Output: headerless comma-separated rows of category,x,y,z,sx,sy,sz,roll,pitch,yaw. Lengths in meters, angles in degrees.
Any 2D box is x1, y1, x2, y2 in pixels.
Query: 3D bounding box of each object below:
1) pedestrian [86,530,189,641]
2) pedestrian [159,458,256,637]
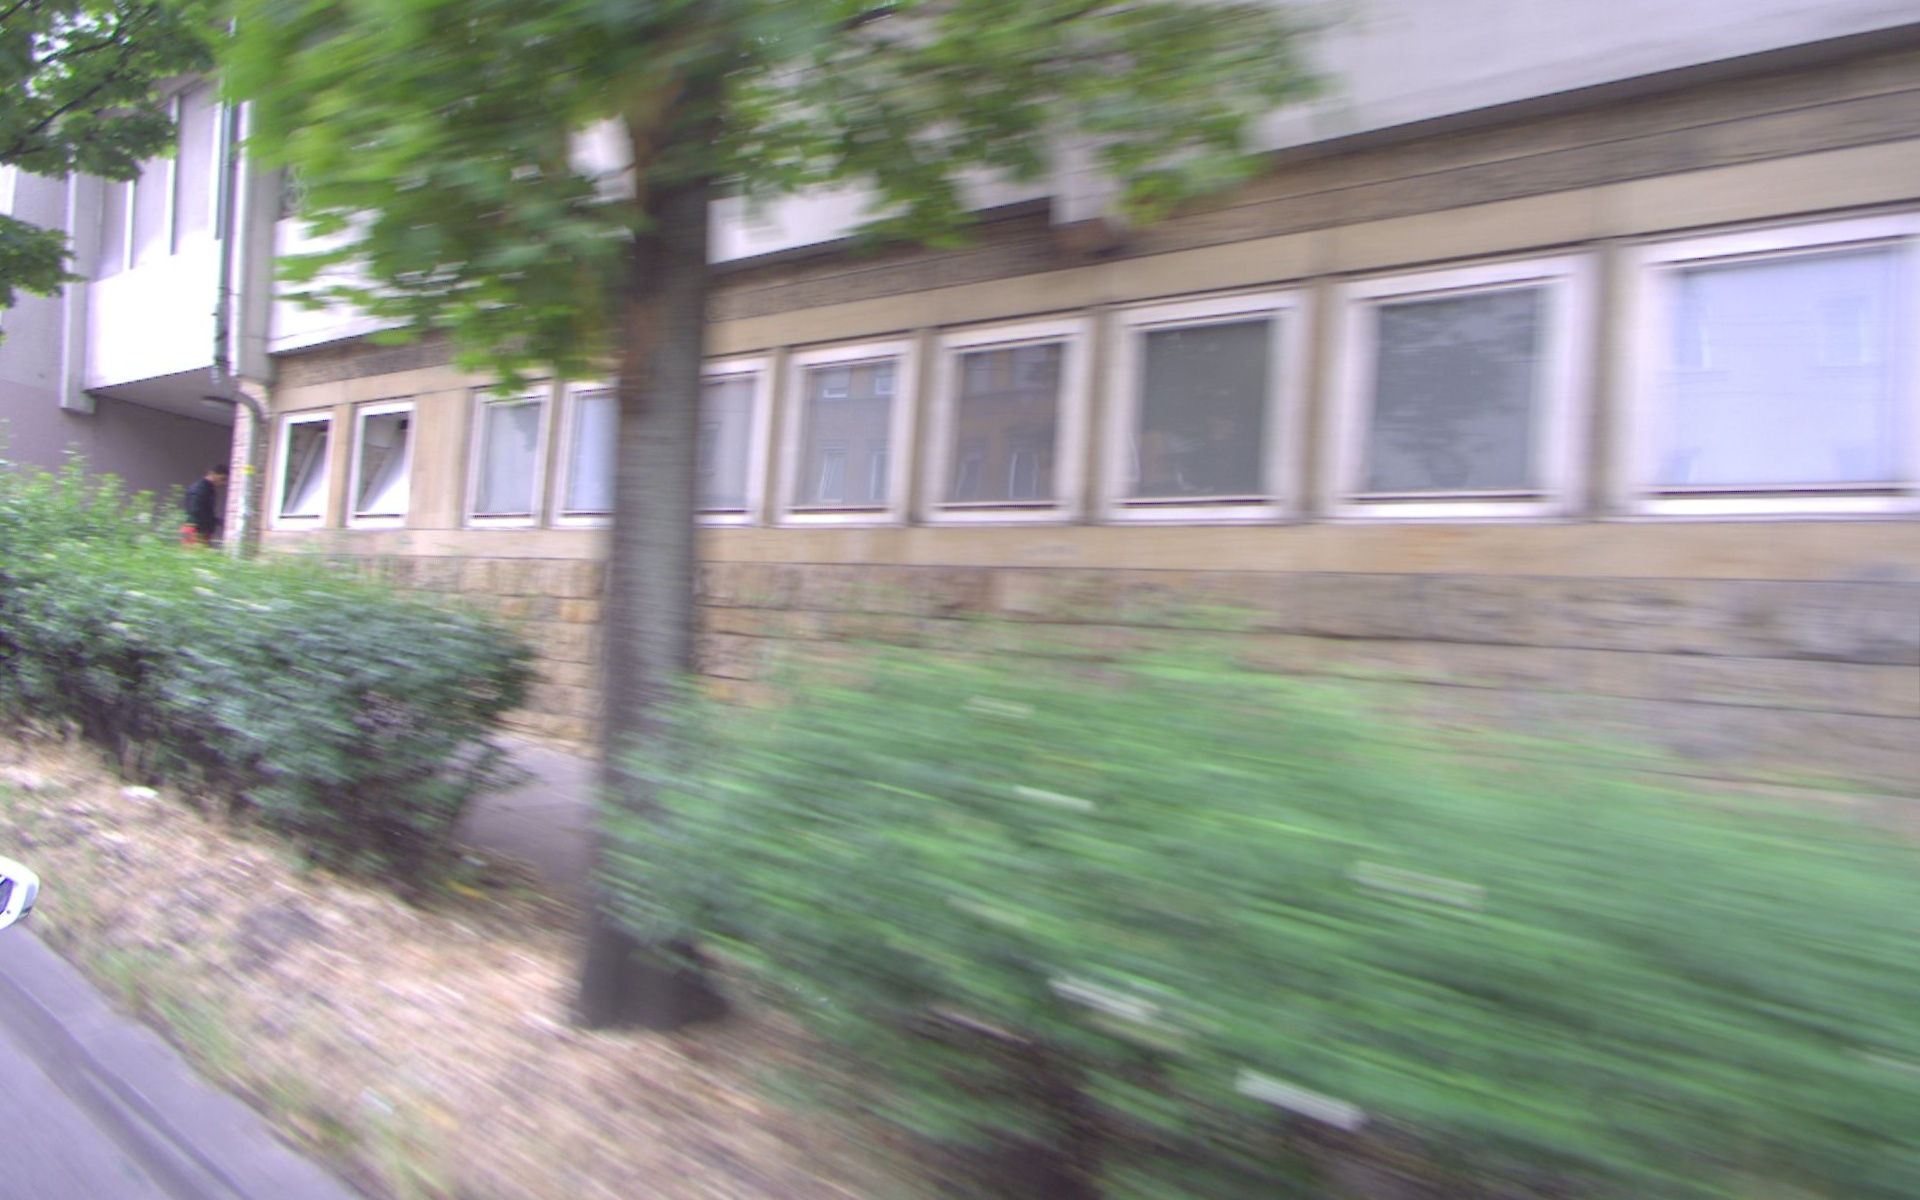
pedestrian,-8.043,-0.136,9.841,0.597,0.976,0.526,7,-1,32
pedestrian,-8.490,-0.579,11.376,0.606,1.897,0.587,8,-1,-31
